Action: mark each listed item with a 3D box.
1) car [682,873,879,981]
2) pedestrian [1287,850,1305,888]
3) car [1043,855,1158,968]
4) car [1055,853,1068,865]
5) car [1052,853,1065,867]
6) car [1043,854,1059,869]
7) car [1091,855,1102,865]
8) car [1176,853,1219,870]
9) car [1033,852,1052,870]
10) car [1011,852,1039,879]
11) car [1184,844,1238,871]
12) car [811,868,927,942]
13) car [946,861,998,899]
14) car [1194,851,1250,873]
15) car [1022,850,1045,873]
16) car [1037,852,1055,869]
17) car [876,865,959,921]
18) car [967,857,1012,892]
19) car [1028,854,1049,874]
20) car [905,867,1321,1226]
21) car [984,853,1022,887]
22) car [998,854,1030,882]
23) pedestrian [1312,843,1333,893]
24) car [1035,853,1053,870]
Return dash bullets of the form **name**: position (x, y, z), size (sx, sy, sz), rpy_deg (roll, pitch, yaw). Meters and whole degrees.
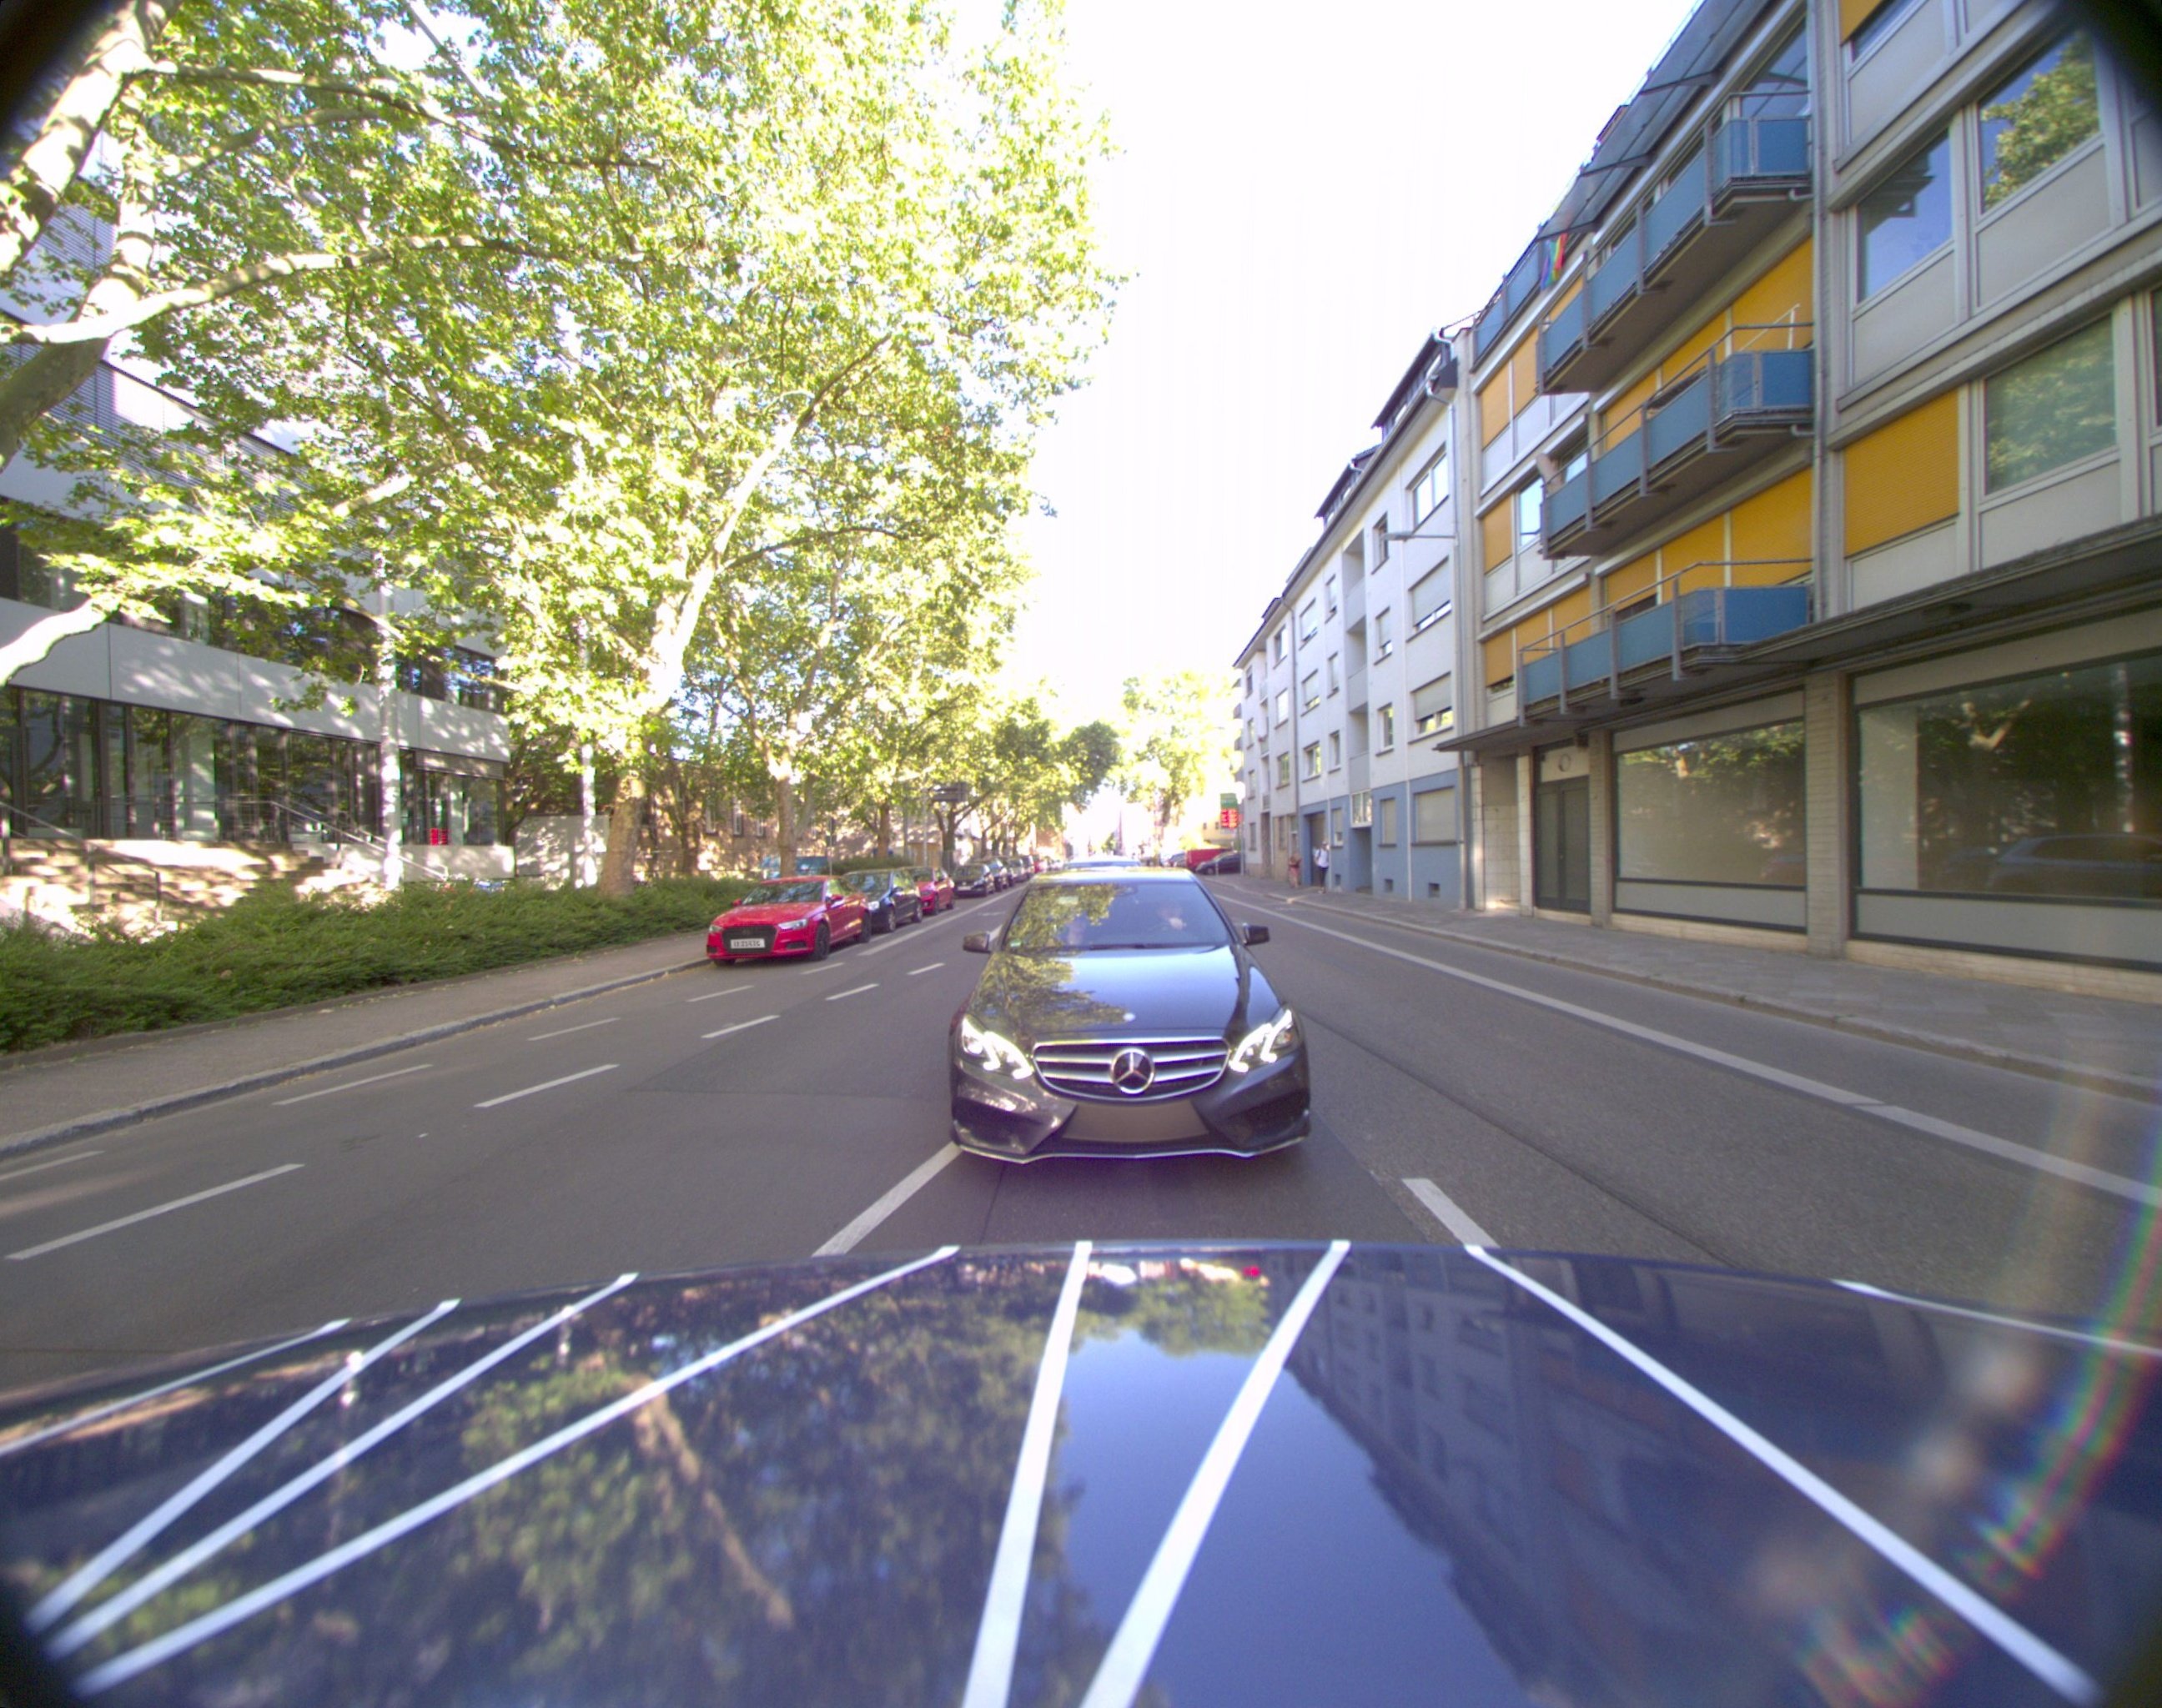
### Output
- **car**: position (-5.159, 1.166, 13.716), size (1.804, 1.455, 4.125), rpy_deg (-3, 0, 1)
- **pedestrian**: position (8.744, 0.600, 30.912), size (0.569, 1.509, 0.343), rpy_deg (-3, 1, 1)
- **car**: position (0.328, 0.882, 13.675), size (1.680, 1.622, 4.125), rpy_deg (-3, 0, 1)
- **car**: position (-2.742, 0.716, 109.758), size (1.635, 1.713, 3.673), rpy_deg (-3, 0, 1)
- **car**: position (-3.033, 0.791, 102.766), size (1.635, 1.713, 3.673), rpy_deg (-3, 0, 1)
- **car**: position (-3.633, 0.927, 92.446), size (1.635, 1.713, 3.673), rpy_deg (-3, 0, 1)
- **car**: position (2.600, 0.961, 127.086), size (1.853, 1.455, 4.099), rpy_deg (-3, 0, 1)
- **car**: position (9.590, 0.637, 62.634), size (3.325, 1.241, 1.295), rpy_deg (-3, 0, 1)
- **car**: position (-3.987, 0.725, 78.198), size (1.635, 1.713, 3.673), rpy_deg (-3, 0, 1)
- **car**: position (-4.067, 0.831, 55.487), size (1.635, 1.799, 3.673), rpy_deg (-3, 0, 1)
- **car**: position (10.227, 0.260, 59.965), size (3.927, 1.912, 1.636), rpy_deg (-3, 0, 1)
- **car**: position (-5.007, 1.150, 18.459), size (1.635, 1.455, 3.740), rpy_deg (-3, 0, 1)
- **car**: position (-4.691, 1.097, 33.160), size (1.635, 1.455, 3.740), rpy_deg (-3, 0, 1)
- **car**: position (10.107, 0.558, 54.713), size (3.670, 1.403, 1.636), rpy_deg (-3, 0, 1)
- **car**: position (-4.134, 0.642, 66.136), size (1.635, 1.878, 3.673), rpy_deg (-3, 0, 1)
- **car**: position (-3.942, 0.718, 86.066), size (1.635, 1.713, 3.673), rpy_deg (-3, 0, 1)
- **car**: position (-4.993, 1.148, 23.681), size (1.635, 1.455, 3.740), rpy_deg (-3, 0, 1)
- **car**: position (-4.524, 0.973, 38.043), size (1.635, 1.578, 3.845), rpy_deg (-3, 0, 1)
- **car**: position (-3.951, 0.924, 71.577), size (1.635, 1.713, 3.673), rpy_deg (-3, 0, 1)
- **car**: position (0.173, 0.909, 5.489), size (1.804, 1.455, 4.125), rpy_deg (-3, 0, 1)
- **car**: position (-4.475, 0.895, 43.907), size (1.635, 1.795, 3.845), rpy_deg (-3, 0, 1)
- **car**: position (-4.424, 0.900, 50.731), size (1.635, 1.644, 3.845), rpy_deg (-3, 0, 1)
- **pedestrian**: position (8.479, 0.488, 26.693), size (0.569, 1.716, 0.343), rpy_deg (-3, 1, 1)
- **car**: position (-3.929, 0.760, 82.055), size (1.635, 1.713, 3.673), rpy_deg (-3, 0, 1)
